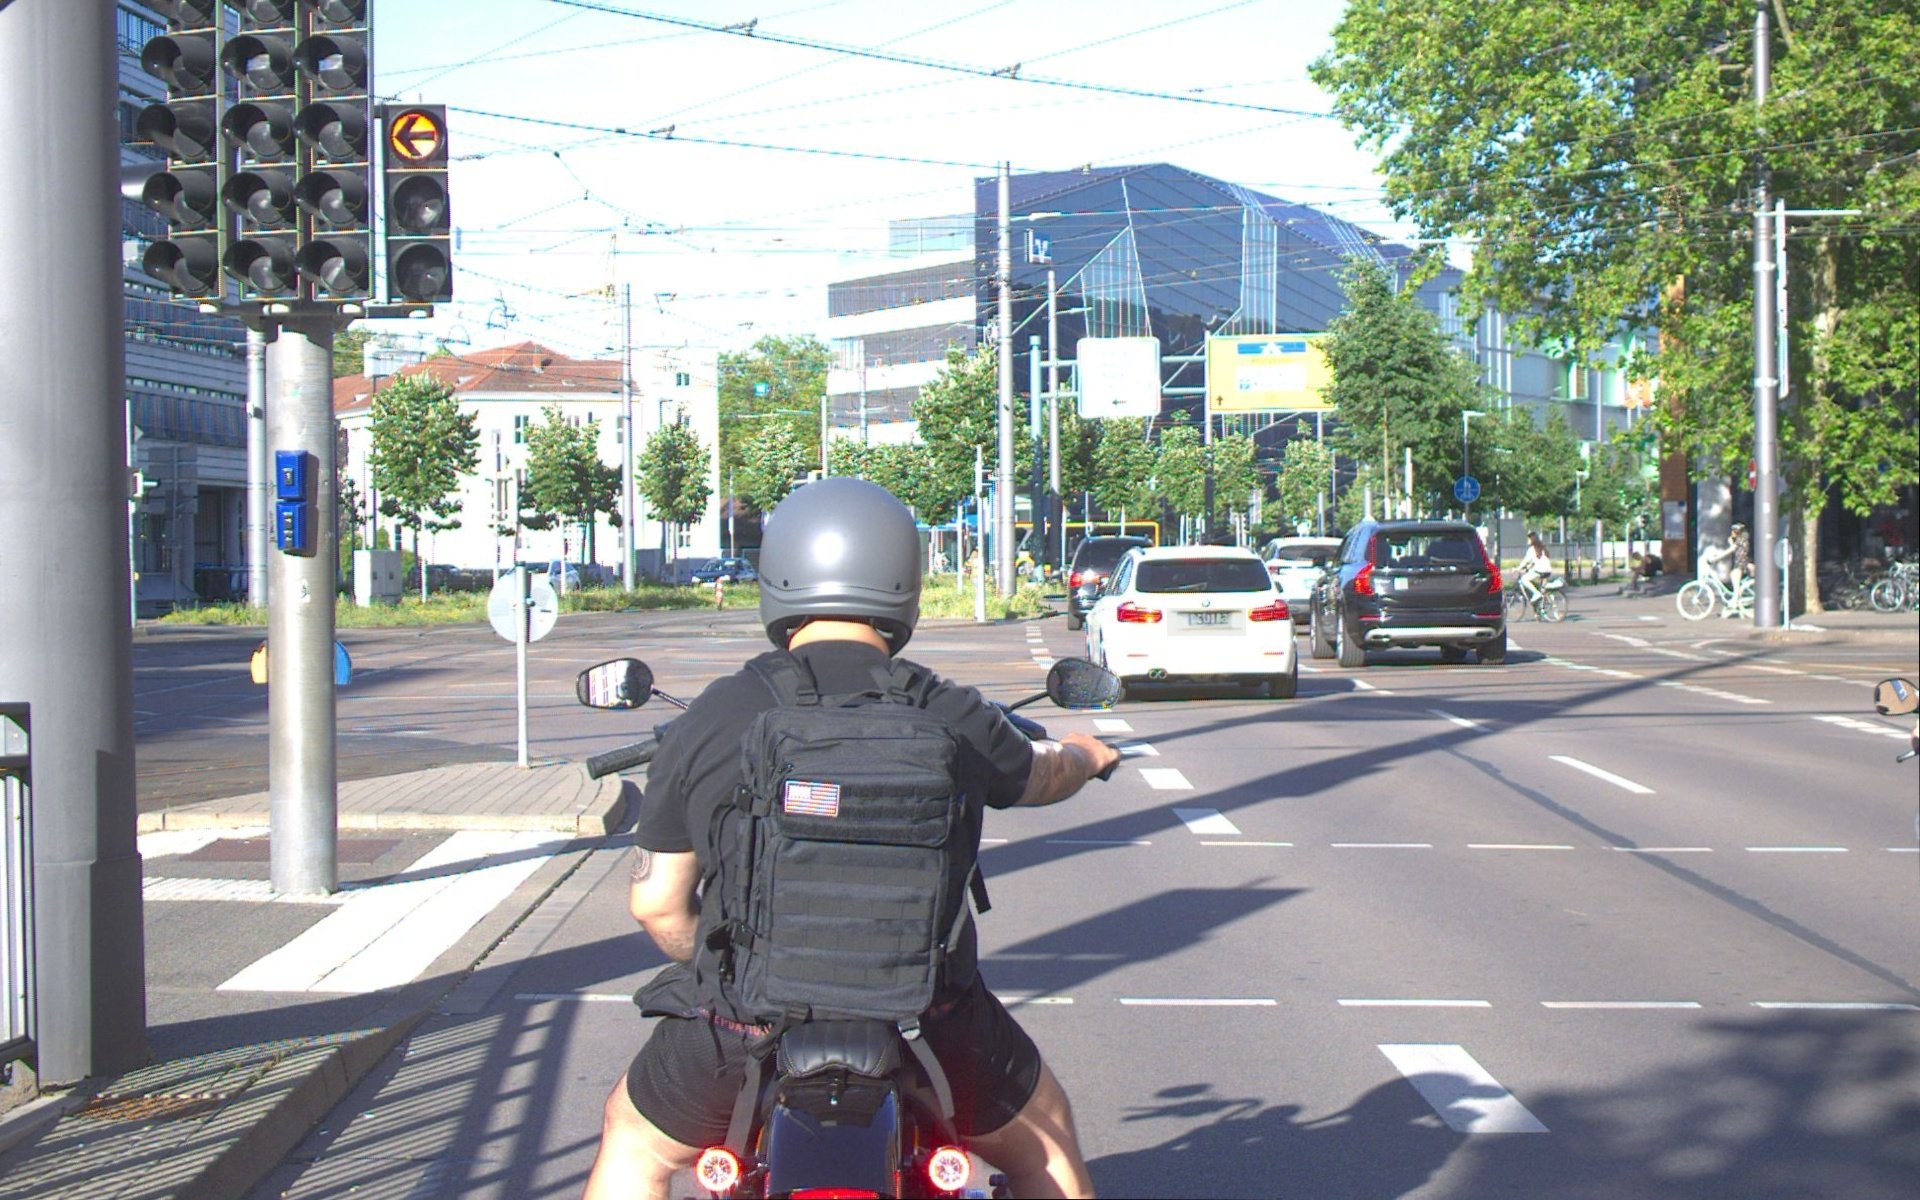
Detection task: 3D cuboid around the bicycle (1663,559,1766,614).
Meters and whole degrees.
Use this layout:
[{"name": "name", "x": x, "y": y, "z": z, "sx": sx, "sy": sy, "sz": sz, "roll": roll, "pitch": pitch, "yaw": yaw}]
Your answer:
[{"name": "bicycle", "x": 14.337, "y": -0.262, "z": 65.330, "sx": 1.872, "sy": 1.040, "sz": 0.536, "roll": 0, "pitch": 0, "yaw": 19}]

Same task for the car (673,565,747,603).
[{"name": "car", "x": -9.737, "y": -0.607, "z": 134.358, "sx": 1.826, "sy": 1.426, "sz": 4.239, "roll": 1, "pitch": 0, "yaw": 11}]

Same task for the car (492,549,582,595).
[{"name": "car", "x": -13.883, "y": -0.937, "z": 113.050, "sx": 1.826, "sy": 1.425, "sz": 4.529, "roll": 0, "pitch": 1, "yaw": 8}]

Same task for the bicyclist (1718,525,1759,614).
[{"name": "bicyclist", "x": 14.765, "y": -0.576, "z": 65.205, "sx": 0.688, "sy": 1.667, "sz": 0.540, "roll": 0, "pitch": 0, "yaw": 19}]

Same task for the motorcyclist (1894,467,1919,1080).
[{"name": "motorcyclist", "x": 2.874, "y": 0.450, "z": 8.796, "sx": 0.796, "sy": 1.574, "sz": 0.529, "roll": 1, "pitch": 0, "yaw": -1}]

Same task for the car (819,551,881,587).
[{"name": "car", "x": -4.887, "y": -1.375, "z": 153.618, "sx": 1.750, "sy": 1.519, "sz": 3.997, "roll": 1, "pitch": 0, "yaw": 13}]

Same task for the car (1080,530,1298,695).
[{"name": "car", "x": 2.130, "y": 0.104, "z": 33.001, "sx": 1.731, "sy": 1.452, "sz": 4.418, "roll": 1, "pitch": 0, "yaw": -1}]

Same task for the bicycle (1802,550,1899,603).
[{"name": "bicycle", "x": 18.291, "y": -0.486, "z": 70.660, "sx": 1.880, "sy": 1.043, "sz": 0.360, "roll": 1, "pitch": 1, "yaw": -1}]

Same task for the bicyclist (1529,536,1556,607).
[{"name": "bicyclist", "x": 11.258, "y": -0.547, "z": 66.445, "sx": 0.344, "sy": 1.368, "sz": 0.382, "roll": 1, "pitch": 0, "yaw": -36}]

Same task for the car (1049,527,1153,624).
[{"name": "car", "x": 2.552, "y": -0.432, "z": 62.365, "sx": 1.803, "sy": 1.672, "sz": 4.040, "roll": 1, "pitch": 0, "yaw": 2}]

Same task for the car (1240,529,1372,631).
[{"name": "car", "x": 5.677, "y": -0.363, "z": 56.805, "sx": 1.731, "sy": 1.593, "sz": 4.041, "roll": 1, "pitch": 1, "yaw": 0}]

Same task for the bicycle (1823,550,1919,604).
[{"name": "bicycle", "x": 18.320, "y": -0.462, "z": 69.009, "sx": 1.880, "sy": 1.043, "sz": 0.360, "roll": 1, "pitch": 1, "yaw": -1}]

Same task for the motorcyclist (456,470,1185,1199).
[{"name": "motorcyclist", "x": -0.201, "y": 0.604, "z": 5.328, "sx": 1.030, "sy": 1.588, "sz": 0.873, "roll": 0, "pitch": 1, "yaw": -1}]

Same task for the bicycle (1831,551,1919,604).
[{"name": "bicycle", "x": 18.359, "y": -0.446, "z": 68.523, "sx": 1.880, "sy": 1.043, "sz": 0.360, "roll": 1, "pitch": 0, "yaw": -1}]

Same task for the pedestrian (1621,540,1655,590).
[{"name": "pedestrian", "x": 17.911, "y": -0.929, "z": 90.813, "sx": 0.819, "sy": 1.309, "sz": 0.637, "roll": 1, "pitch": 0, "yaw": 9}]

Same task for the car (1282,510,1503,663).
[{"name": "car", "x": 5.199, "y": -0.217, "z": 41.899, "sx": 1.731, "sy": 1.726, "sz": 4.613, "roll": 1, "pitch": 2, "yaw": -5}]

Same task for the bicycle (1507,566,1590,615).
[{"name": "bicycle", "x": 11.348, "y": -0.186, "z": 66.326, "sx": 0.356, "sy": 0.922, "sz": 1.831, "roll": 1, "pitch": 0, "yaw": -36}]

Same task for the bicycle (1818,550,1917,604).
[{"name": "bicycle", "x": 18.346, "y": -0.470, "z": 69.509, "sx": 1.880, "sy": 1.043, "sz": 0.360, "roll": 1, "pitch": 1, "yaw": -1}]

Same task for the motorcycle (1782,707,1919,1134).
[{"name": "motorcycle", "x": 2.877, "y": 0.855, "z": 9.102, "sx": 0.804, "sy": 1.047, "sz": 2.376, "roll": 1, "pitch": 0, "yaw": 0}]

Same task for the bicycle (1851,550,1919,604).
[{"name": "bicycle", "x": 18.439, "y": -0.450, "z": 67.335, "sx": 1.880, "sy": 1.043, "sz": 0.360, "roll": 1, "pitch": 0, "yaw": -1}]

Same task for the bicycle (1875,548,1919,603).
[{"name": "bicycle", "x": 18.491, "y": -0.466, "z": 65.739, "sx": 1.880, "sy": 1.043, "sz": 0.360, "roll": 1, "pitch": 0, "yaw": -1}]

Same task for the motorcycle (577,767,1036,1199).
[{"name": "motorcycle", "x": -0.221, "y": 0.873, "z": 5.657, "sx": 0.600, "sy": 1.032, "sz": 2.234, "roll": 1, "pitch": 1, "yaw": -1}]

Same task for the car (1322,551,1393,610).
[{"name": "car", "x": 11.674, "y": -0.562, "z": 100.795, "sx": 1.804, "sy": 1.672, "sz": 4.039, "roll": 1, "pitch": 0, "yaw": 10}]

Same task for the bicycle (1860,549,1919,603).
[{"name": "bicycle", "x": 18.407, "y": -0.459, "z": 66.520, "sx": 1.880, "sy": 1.043, "sz": 0.360, "roll": 1, "pitch": 0, "yaw": -1}]
